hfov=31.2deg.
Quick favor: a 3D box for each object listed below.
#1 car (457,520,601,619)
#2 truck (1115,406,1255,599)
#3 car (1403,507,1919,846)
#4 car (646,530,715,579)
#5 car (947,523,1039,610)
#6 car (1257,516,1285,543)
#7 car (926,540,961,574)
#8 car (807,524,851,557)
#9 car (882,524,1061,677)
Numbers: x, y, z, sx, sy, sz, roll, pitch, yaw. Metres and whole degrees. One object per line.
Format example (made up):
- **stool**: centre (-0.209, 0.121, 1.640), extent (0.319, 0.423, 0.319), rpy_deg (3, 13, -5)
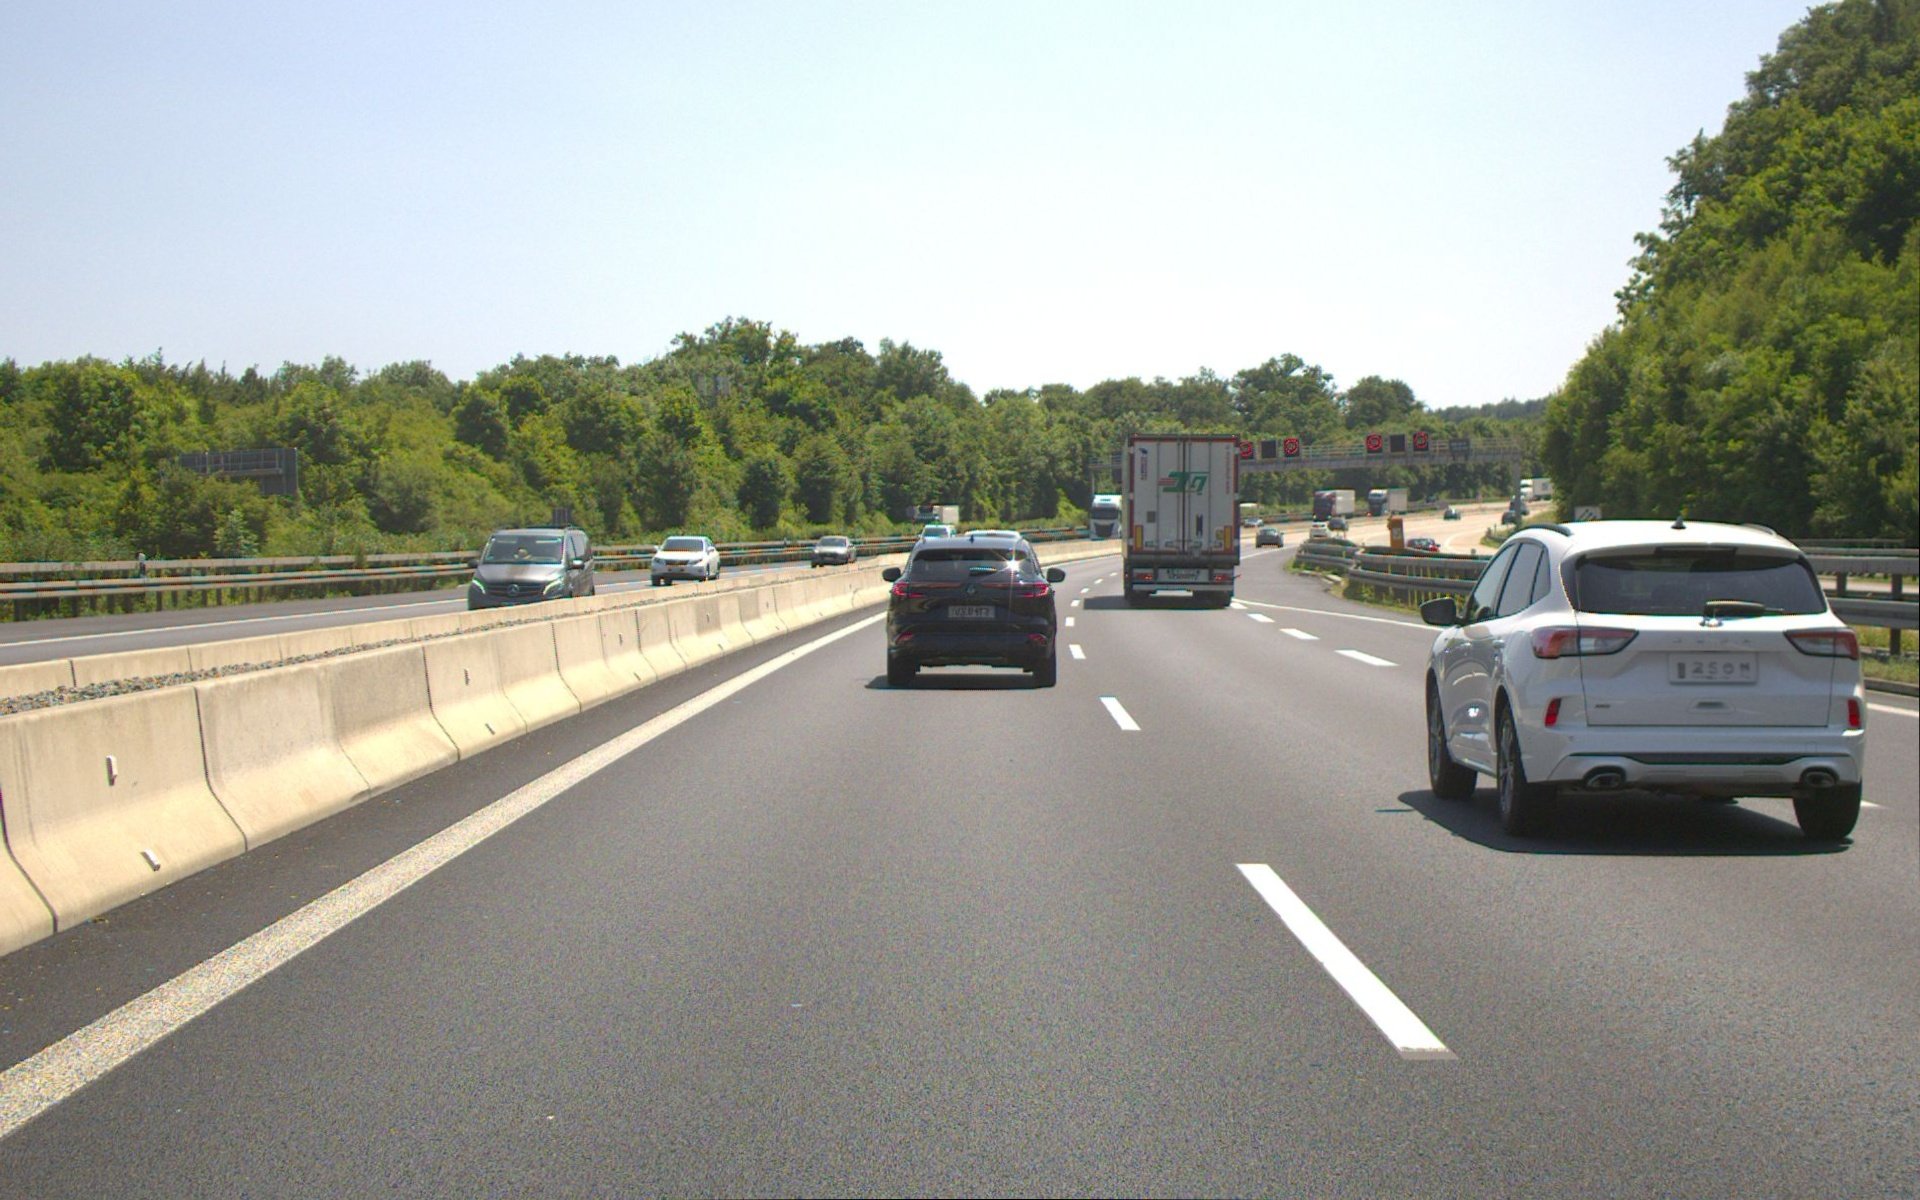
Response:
- **car**: centre (-8.340, -0.595, 66.917), extent (2.035, 1.851, 5.375), rpy_deg (0, 1, 1)
- **truck**: centre (5.419, -2.284, 84.633), extent (3.032, 4.403, 12.018), rpy_deg (0, 1, 2)
- **car**: centre (3.741, 0.354, 19.105), extent (1.993, 1.656, 4.468), rpy_deg (0, 1, 0)
- **car**: centre (-9.532, -1.580, 117.579), extent (1.788, 1.626, 4.930), rpy_deg (0, 1, 2)
- **car**: centre (0.852, -0.854, 85.240), extent (1.994, 2.007, 4.000), rpy_deg (-3, 1, 3)
- **car**: centre (23.115, -5.230, 255.465), extent (1.994, 2.007, 3.999), rpy_deg (0, 1, 5)
- **car**: centre (-0.989, -2.562, 205.749), extent (1.993, 2.007, 5.380), rpy_deg (0, 1, 1)
- **car**: centre (-6.225, -2.837, 163.364), extent (1.728, 1.527, 4.261), rpy_deg (1, 1, 2)
- **car**: centre (0.077, -0.012, 37.724), extent (1.779, 1.572, 4.000), rpy_deg (0, 0, -2)
